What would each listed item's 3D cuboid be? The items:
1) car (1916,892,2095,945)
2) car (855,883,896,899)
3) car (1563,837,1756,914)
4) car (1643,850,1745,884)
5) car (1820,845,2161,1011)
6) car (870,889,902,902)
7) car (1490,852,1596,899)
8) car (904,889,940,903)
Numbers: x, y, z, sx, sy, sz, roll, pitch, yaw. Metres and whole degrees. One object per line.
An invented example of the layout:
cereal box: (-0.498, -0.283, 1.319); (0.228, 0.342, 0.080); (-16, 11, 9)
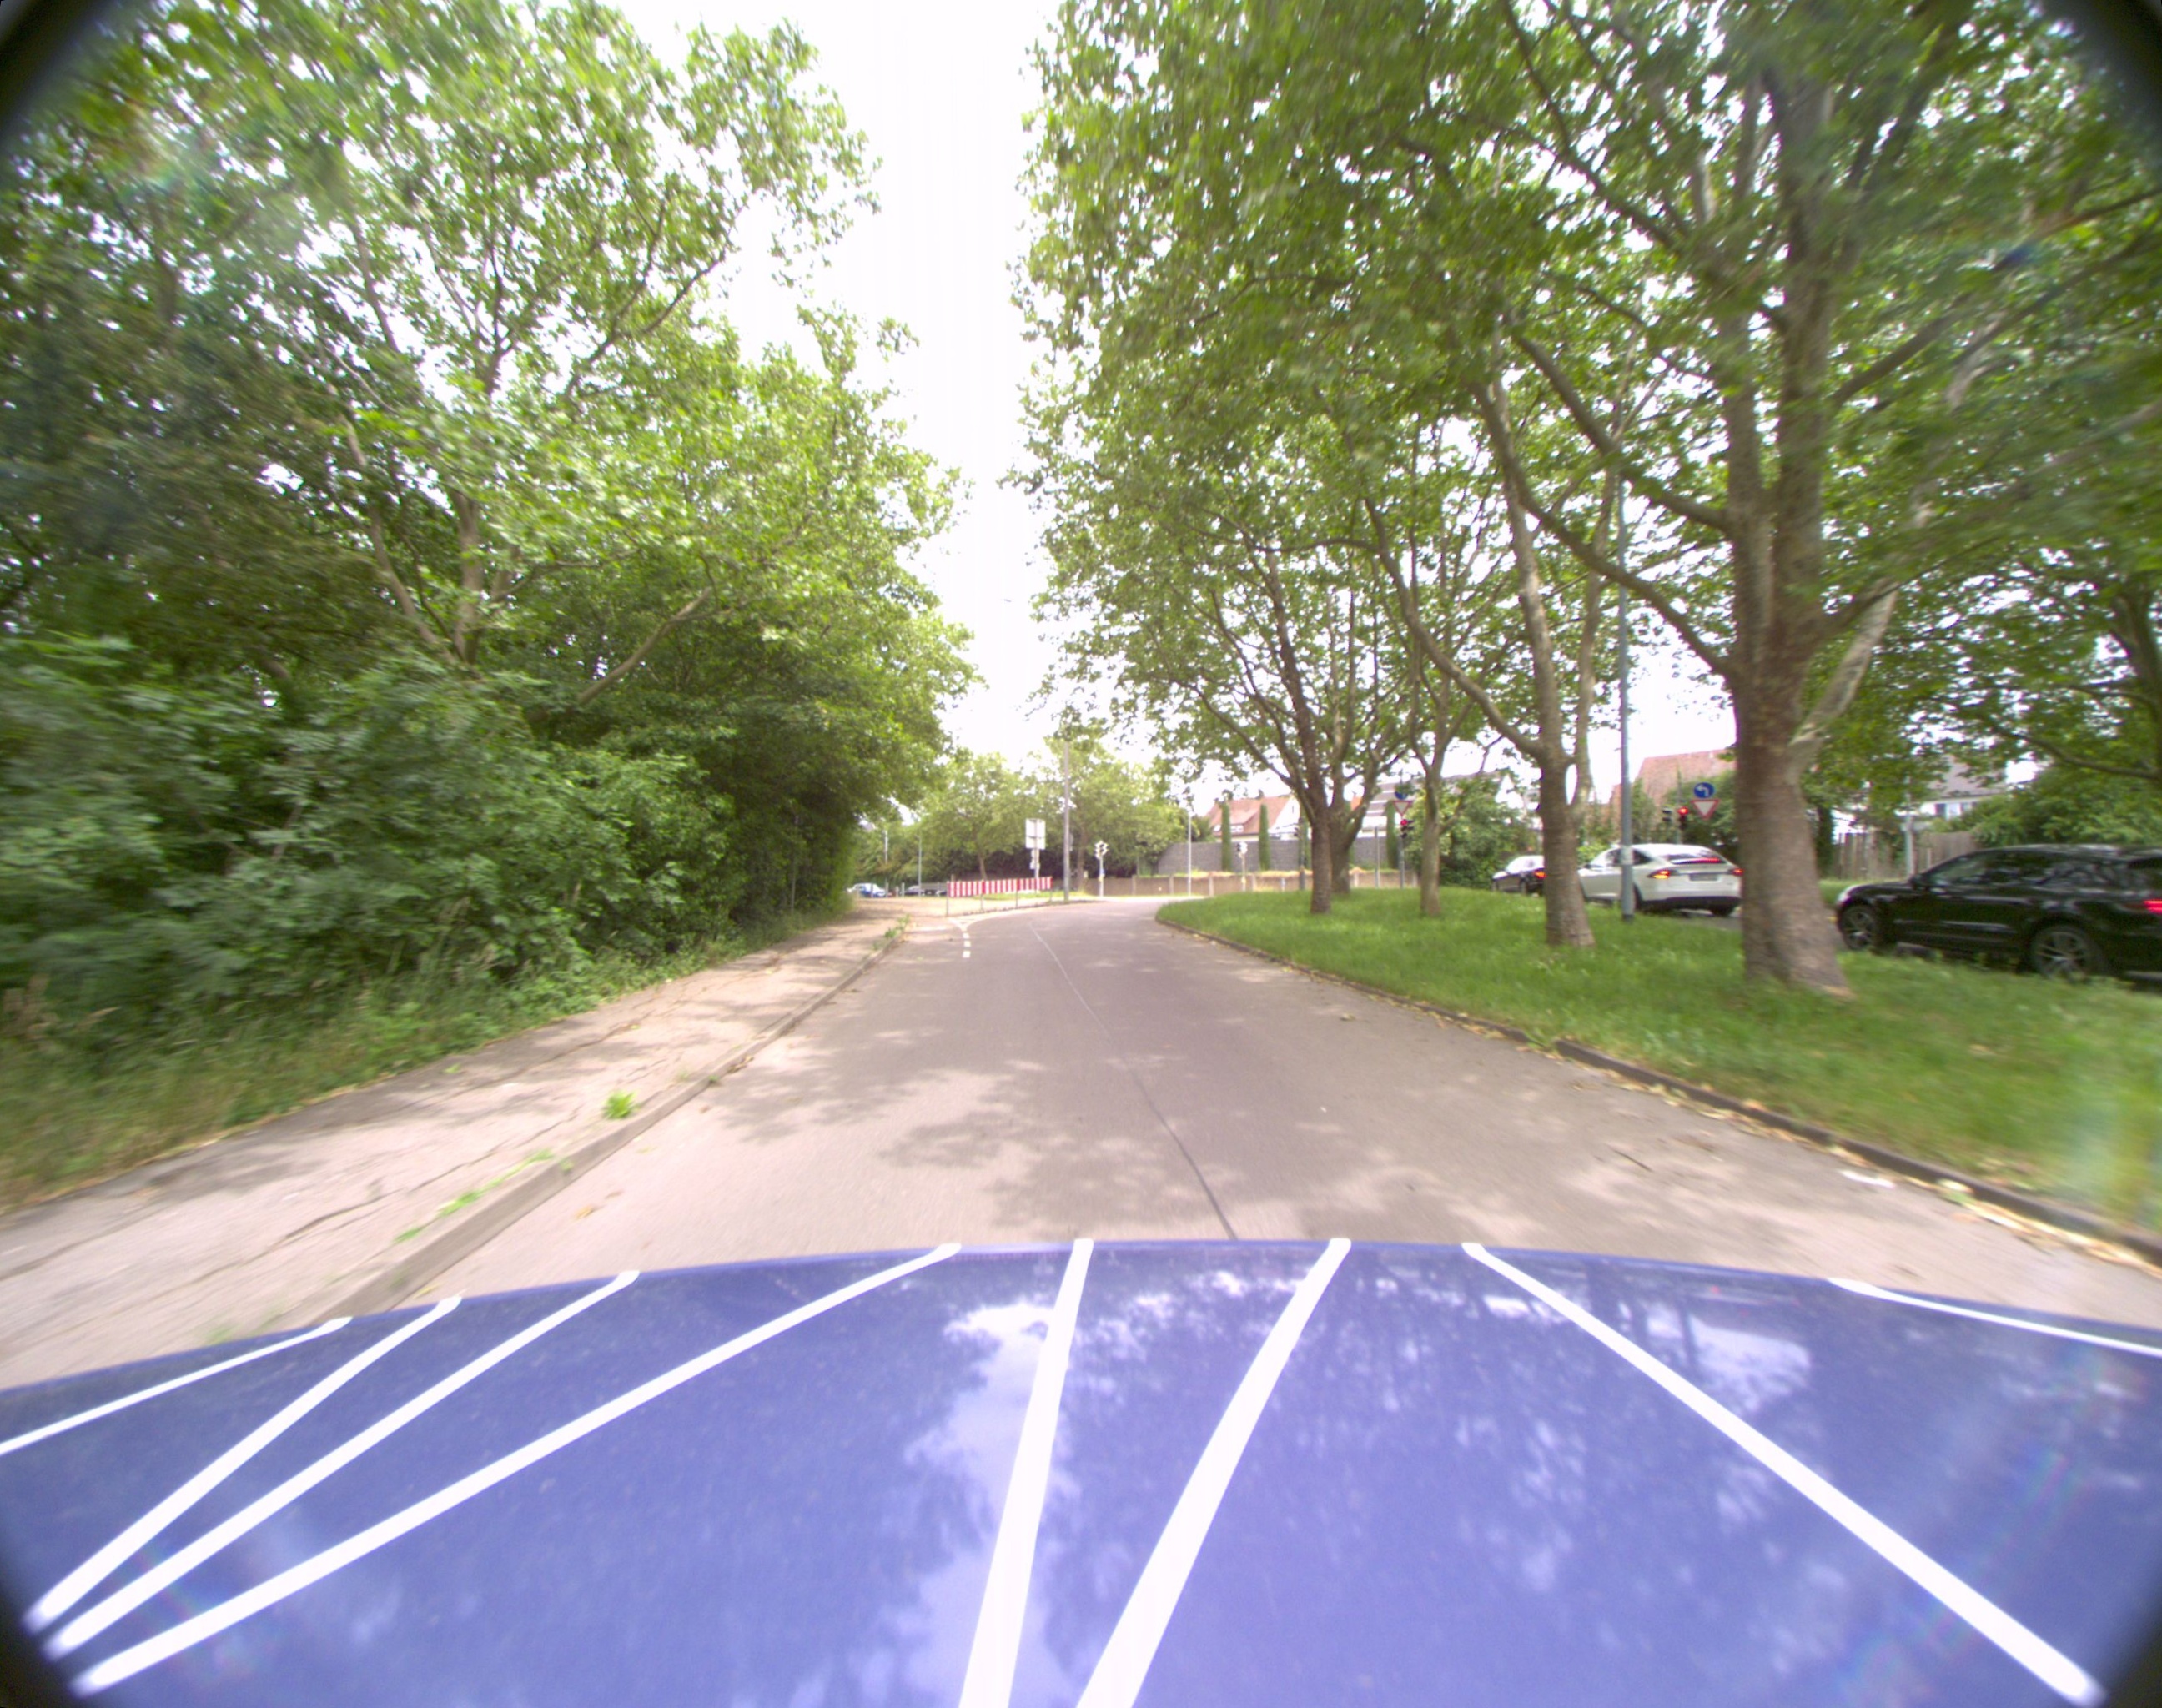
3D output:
car: (32.287, 2.216, 26.703); (3.636, 1.514, 1.655); (2, -1, 32)
car: (-20.035, 3.620, 74.054); (4.136, 1.419, 1.802); (-3, -6, 42)
car: (14.041, 0.593, 18.880); (1.854, 1.648, 4.913); (-1, -3, 12)
car: (29.395, 0.624, 36.560); (3.636, 1.520, 1.655); (0, -3, 32)
car: (12.024, 0.709, 9.523); (1.760, 1.582, 4.616); (-1, 1, 12)
car: (-22.968, 4.865, 89.369); (3.821, 1.495, 1.692); (-3, -6, 40)
car: (15.849, 0.703, 26.307); (1.760, 1.508, 4.391); (-1, 0, 12)
car: (-17.667, 4.656, 84.297); (4.027, 1.593, 1.802); (-3, -4, 41)
